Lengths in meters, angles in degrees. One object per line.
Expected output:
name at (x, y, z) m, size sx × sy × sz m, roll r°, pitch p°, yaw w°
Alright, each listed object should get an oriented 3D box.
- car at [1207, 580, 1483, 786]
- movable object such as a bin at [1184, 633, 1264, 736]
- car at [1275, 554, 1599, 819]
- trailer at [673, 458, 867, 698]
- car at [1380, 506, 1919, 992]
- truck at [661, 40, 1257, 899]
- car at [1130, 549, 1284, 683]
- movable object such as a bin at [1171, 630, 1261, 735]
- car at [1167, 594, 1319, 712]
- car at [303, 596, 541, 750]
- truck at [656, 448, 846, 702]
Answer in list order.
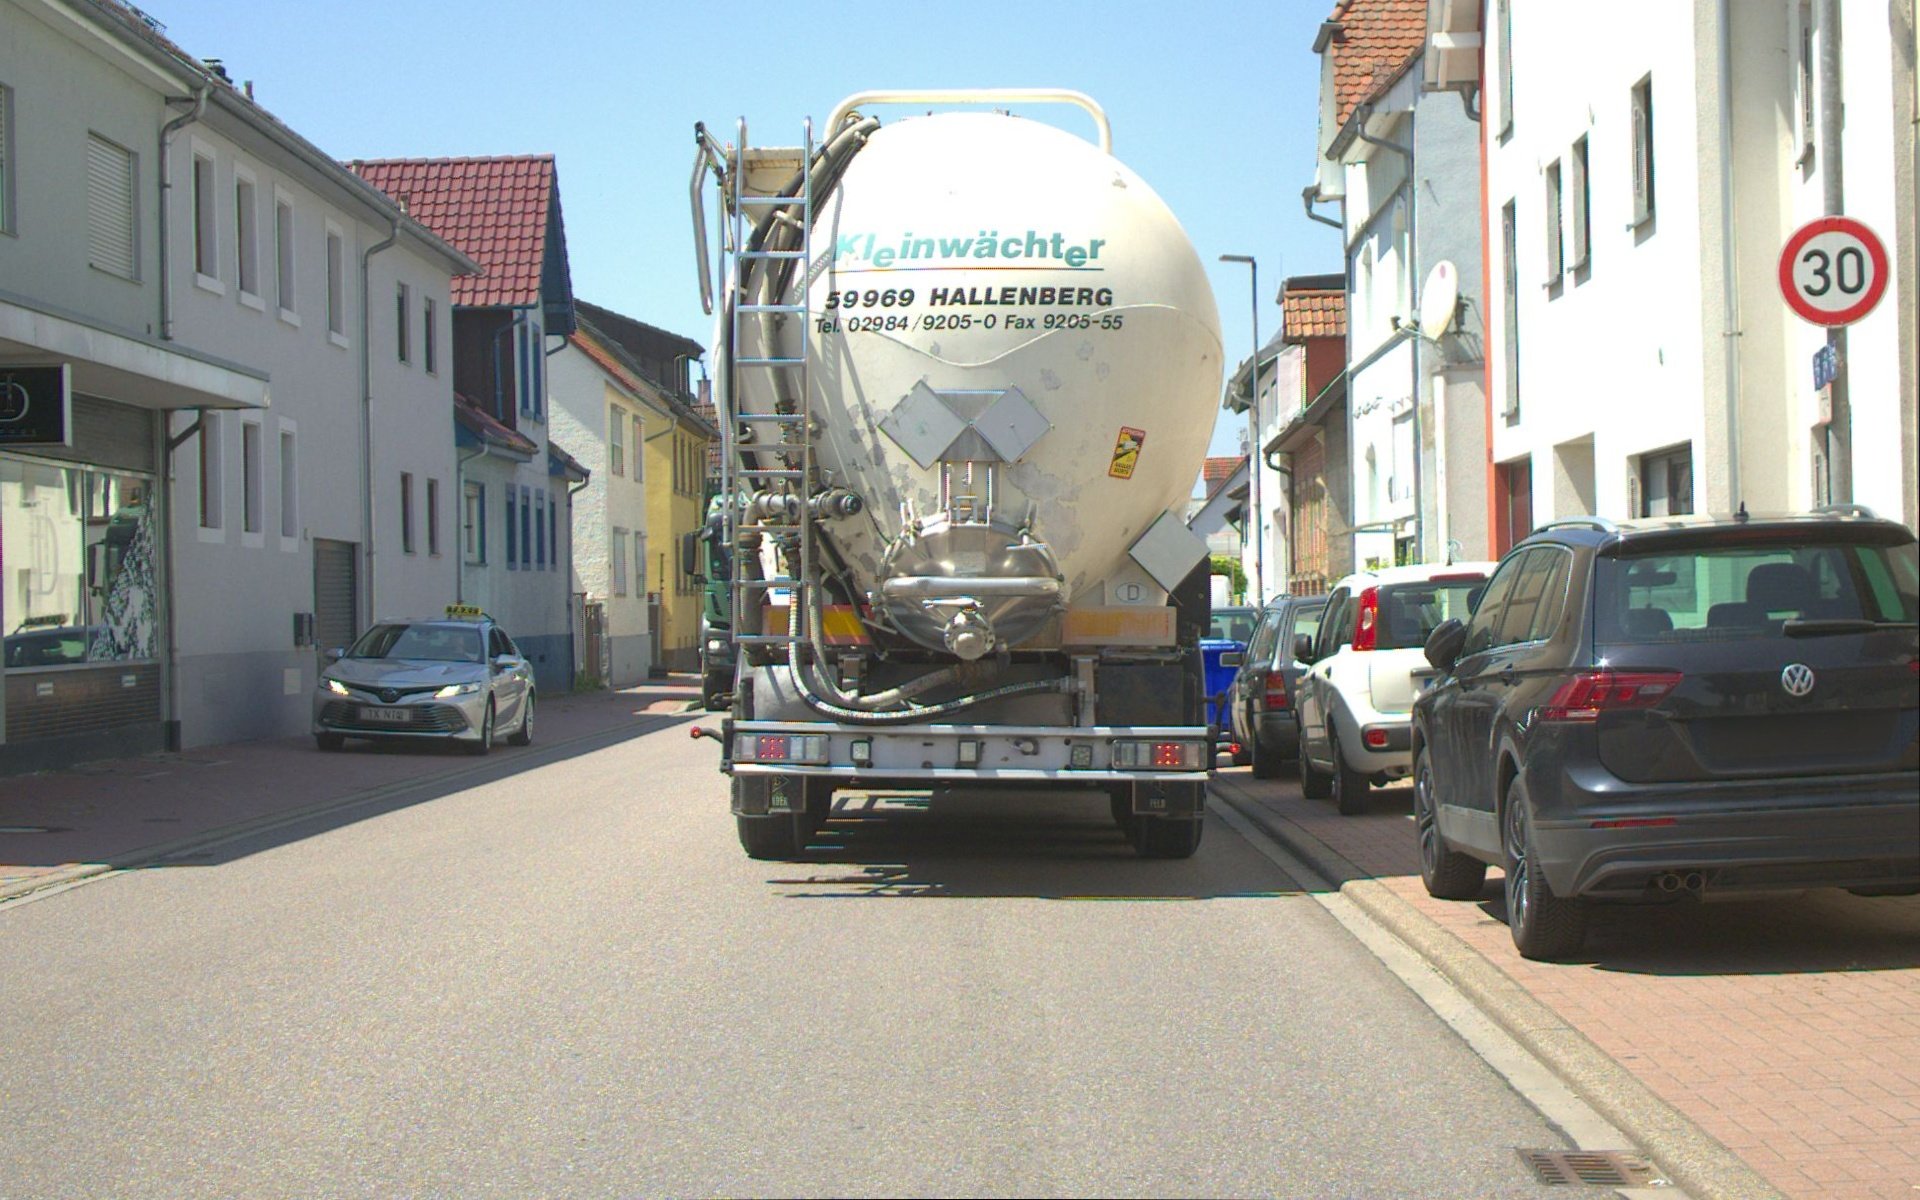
car at (3.046, 0.627, 28.092) m, size 1.700 × 1.442 × 4.836 m, roll -3°, pitch 0°, yaw 1°
movable object such as a bin at (2.765, 0.877, 35.937) m, size 0.656 × 1.031 × 0.683 m, roll -3°, pitch 0°, yaw 17°
car at (3.064, 0.535, 22.675) m, size 1.606 × 1.517 × 3.545 m, roll -3°, pitch 0°, yaw 1°
trailer at (-3.434, -0.325, 66.082) m, size 2.630 × 3.966 × 15.698 m, roll -2°, pitch 0°, yaw 0°
car at (2.904, 0.479, 14.078) m, size 1.802 × 1.608 × 4.548 m, roll -3°, pitch 1°, yaw 1°
truck at (0.062, -0.586, 19.883) m, size 2.732 × 3.947 × 8.141 m, roll 0°, pitch 0°, yaw 1°
car at (3.831, 0.249, 54.040) m, size 1.946 × 1.964 × 4.785 m, roll -1°, pitch 0°, yaw -1°
movable object such as a bin at (2.735, 0.874, 36.644) m, size 0.723 × 1.069 × 0.971 m, roll -3°, pitch 0°, yaw 17°
car at (3.757, 0.679, 46.279) m, size 1.770 × 1.461 × 4.577 m, roll -1°, pitch 0°, yaw 2°
car at (-5.860, 0.771, 37.948) m, size 1.808 × 1.552 × 4.564 m, roll 1°, pitch 0°, yaw 1°
truck at (-3.470, -0.380, 58.578) m, size 2.618 × 3.972 × 6.852 m, roll -2°, pitch 0°, yaw 0°
